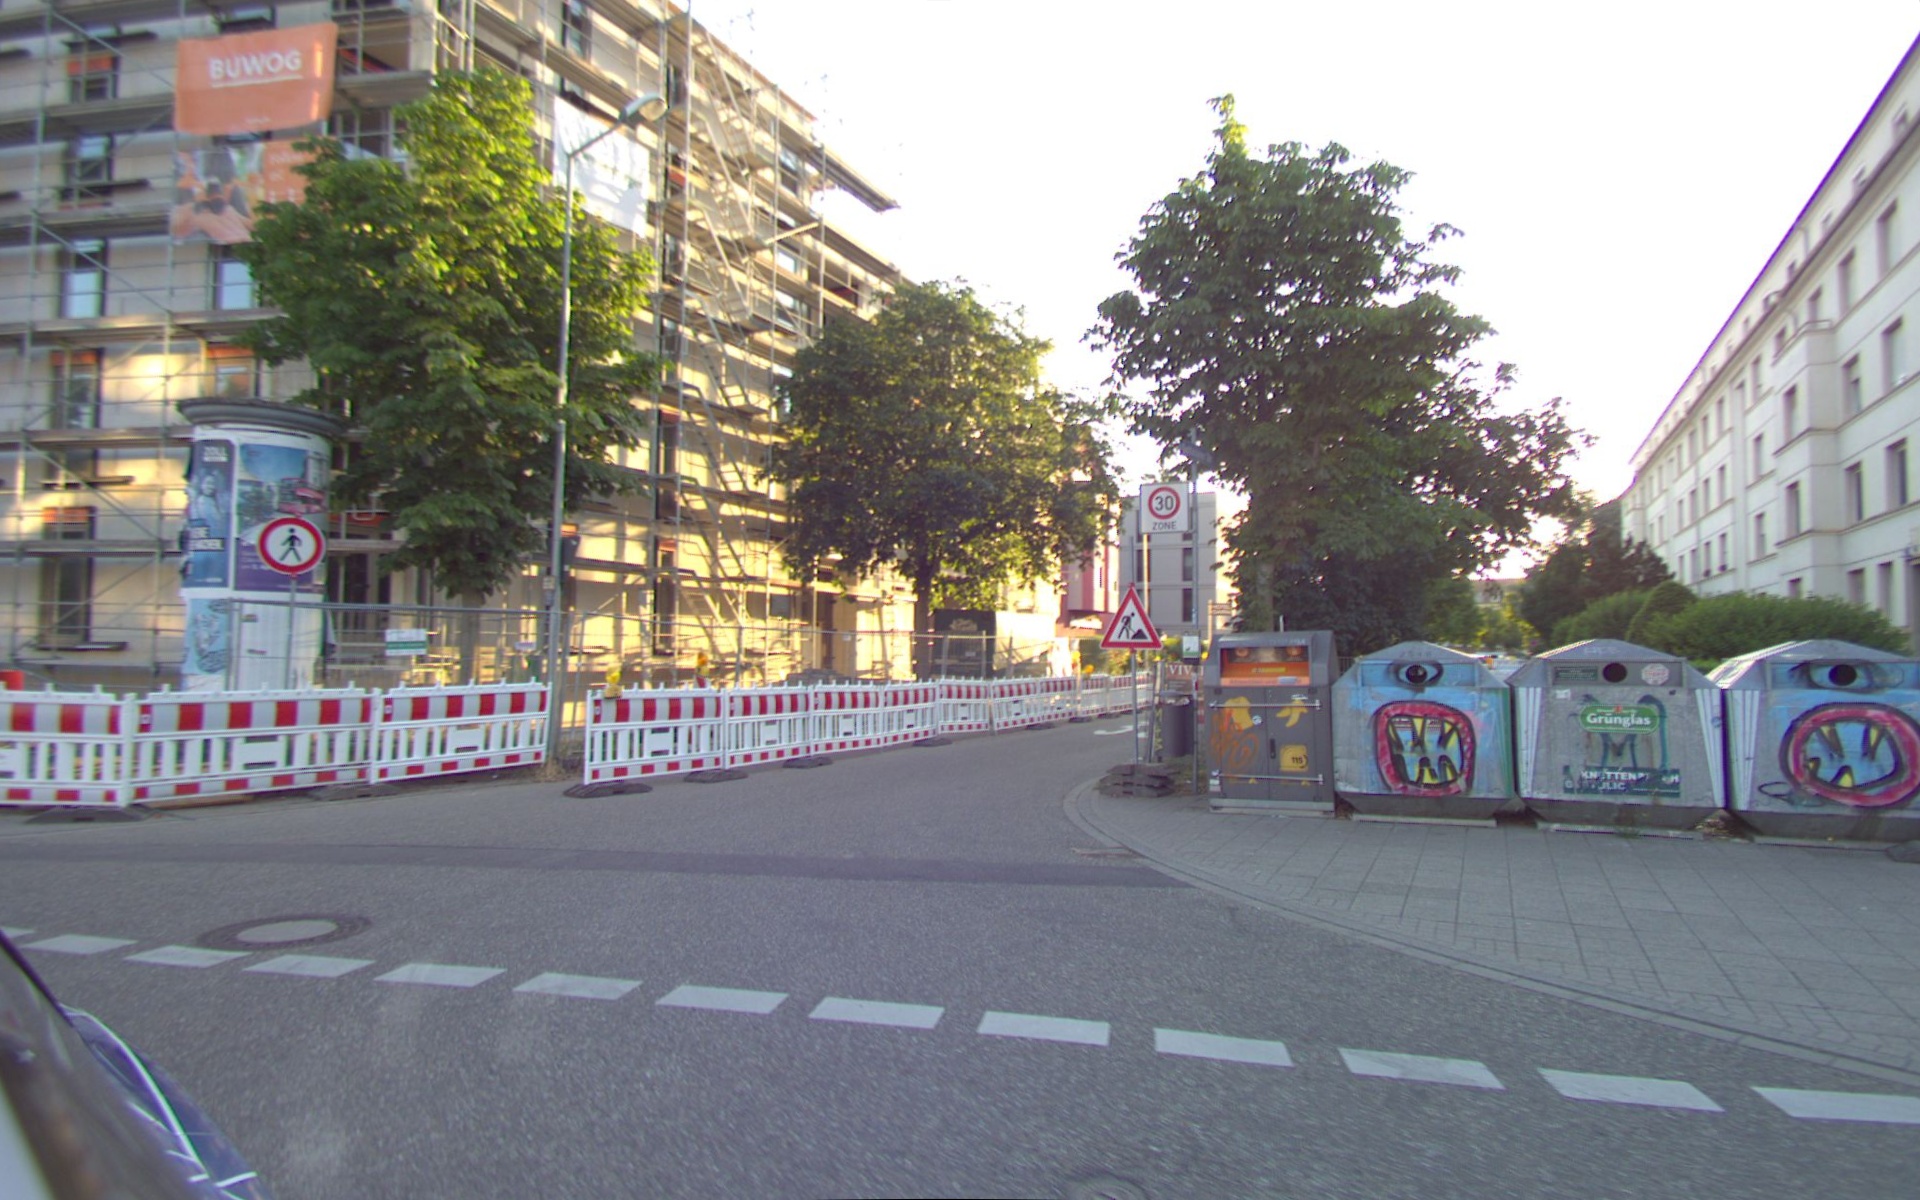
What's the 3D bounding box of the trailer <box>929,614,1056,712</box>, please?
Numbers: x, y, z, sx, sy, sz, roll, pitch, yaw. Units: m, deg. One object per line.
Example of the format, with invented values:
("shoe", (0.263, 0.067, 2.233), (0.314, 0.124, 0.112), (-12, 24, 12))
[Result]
("trailer", (1.022, 1.775, 28.765), (1.991, 2.559, 4.145), (-1, -3, 28))
